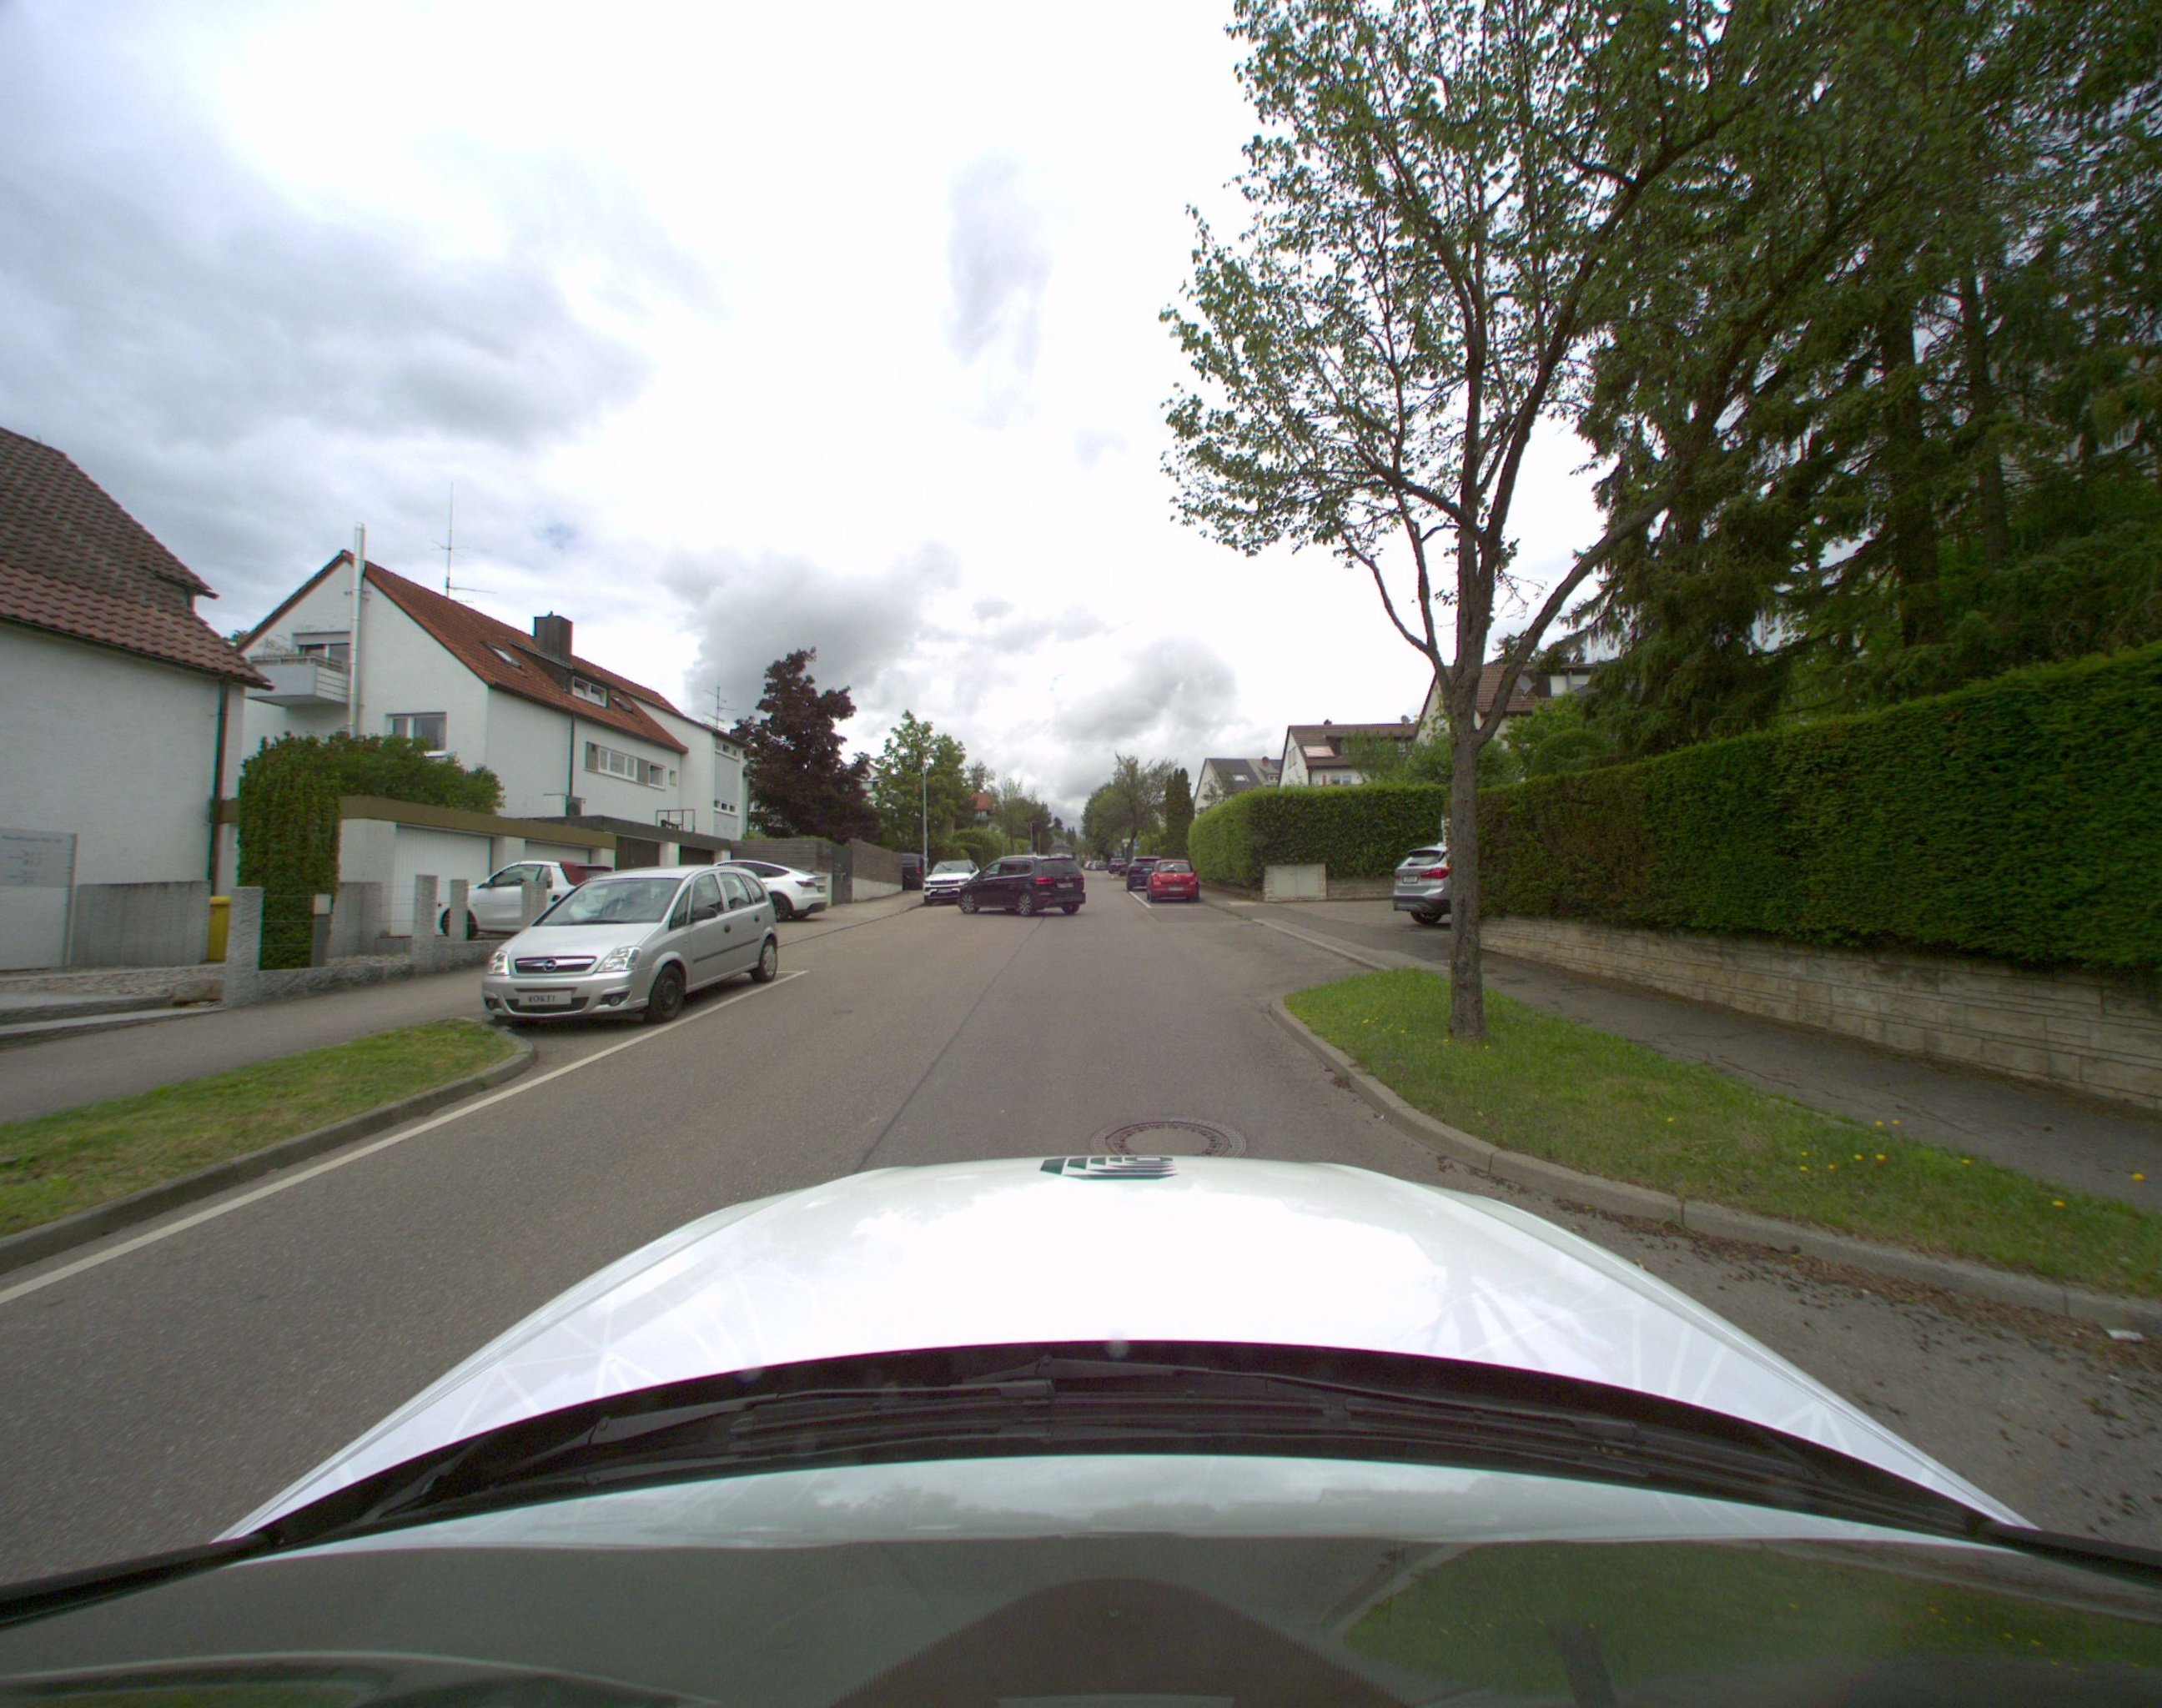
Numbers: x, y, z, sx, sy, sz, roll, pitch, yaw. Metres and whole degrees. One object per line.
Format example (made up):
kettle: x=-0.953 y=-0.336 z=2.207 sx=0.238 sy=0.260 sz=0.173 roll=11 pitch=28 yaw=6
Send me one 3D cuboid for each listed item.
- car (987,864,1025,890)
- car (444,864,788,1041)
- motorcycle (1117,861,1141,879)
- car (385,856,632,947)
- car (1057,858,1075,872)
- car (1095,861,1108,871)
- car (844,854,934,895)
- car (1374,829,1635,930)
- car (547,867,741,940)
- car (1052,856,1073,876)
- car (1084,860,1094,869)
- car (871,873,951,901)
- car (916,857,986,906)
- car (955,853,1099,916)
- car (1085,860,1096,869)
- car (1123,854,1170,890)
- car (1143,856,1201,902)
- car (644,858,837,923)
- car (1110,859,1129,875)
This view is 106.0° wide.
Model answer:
car: x=-4.563 y=1.371 z=50.015 sx=1.831 sy=1.422 sz=4.407 roll=-3 pitch=0 yaw=0
car: x=-5.057 y=0.948 z=9.576 sx=1.755 sy=1.563 sz=3.855 roll=-3 pitch=0 yaw=0
motorcycle: x=3.752 y=1.245 z=64.011 sx=1.876 sy=1.346 sz=0.593 roll=-1 pitch=-1 yaw=-35
car: x=-10.694 y=0.867 z=15.388 sx=3.416 sy=1.578 sz=1.657 roll=1 pitch=-2 yaw=1
car: x=-1.815 y=1.344 z=100.427 sx=1.934 sy=1.647 sz=4.258 roll=-3 pitch=-1 yaw=1
car: x=3.170 y=1.817 z=124.782 sx=1.661 sy=1.501 sz=3.463 roll=-1 pitch=0 yaw=-4
car: x=-9.850 y=1.054 z=41.934 sx=4.049 sy=1.950 sz=2.004 roll=-2 pitch=-2 yaw=8
car: x=8.205 y=0.447 z=15.960 sx=4.206 sy=1.599 sz=1.877 roll=-3 pitch=0 yaw=-9
car: x=-9.791 y=1.088 z=18.438 sx=3.416 sy=1.512 sz=1.693 roll=1 pitch=-2 yaw=1
car: x=-1.839 y=1.148 z=80.959 sx=1.879 sy=1.851 sz=4.401 roll=-2 pitch=0 yaw=0
car: x=1.498 y=2.064 z=156.692 sx=1.661 sy=1.668 sz=3.463 roll=-1 pitch=0 yaw=-4
car: x=-9.481 y=1.832 z=45.494 sx=3.959 sy=1.445 sz=1.785 roll=-1 pitch=-1 yaw=13
car: x=-4.931 y=0.988 z=31.465 sx=1.831 sy=1.666 sz=4.409 roll=-3 pitch=0 yaw=1
car: x=-1.626 y=0.837 z=23.333 sx=1.864 sy=1.611 sz=4.258 roll=0 pitch=-1 yaw=-42
car: x=1.719 y=1.935 z=149.470 sx=1.661 sy=1.501 sz=3.463 roll=-1 pitch=0 yaw=-4
car: x=3.081 y=0.861 z=39.135 sx=1.986 sy=1.618 sz=4.514 roll=0 pitch=-1 yaw=1
car: x=3.187 y=0.853 z=29.172 sx=1.655 sy=1.508 sz=3.758 roll=-1 pitch=0 yaw=1
car: x=-9.196 y=0.969 z=22.268 sx=4.398 sy=1.629 sz=1.910 roll=1 pitch=-1 yaw=-1
car: x=3.841 y=1.256 z=81.557 sx=1.876 sy=1.533 sz=4.476 roll=0 pitch=0 yaw=2
